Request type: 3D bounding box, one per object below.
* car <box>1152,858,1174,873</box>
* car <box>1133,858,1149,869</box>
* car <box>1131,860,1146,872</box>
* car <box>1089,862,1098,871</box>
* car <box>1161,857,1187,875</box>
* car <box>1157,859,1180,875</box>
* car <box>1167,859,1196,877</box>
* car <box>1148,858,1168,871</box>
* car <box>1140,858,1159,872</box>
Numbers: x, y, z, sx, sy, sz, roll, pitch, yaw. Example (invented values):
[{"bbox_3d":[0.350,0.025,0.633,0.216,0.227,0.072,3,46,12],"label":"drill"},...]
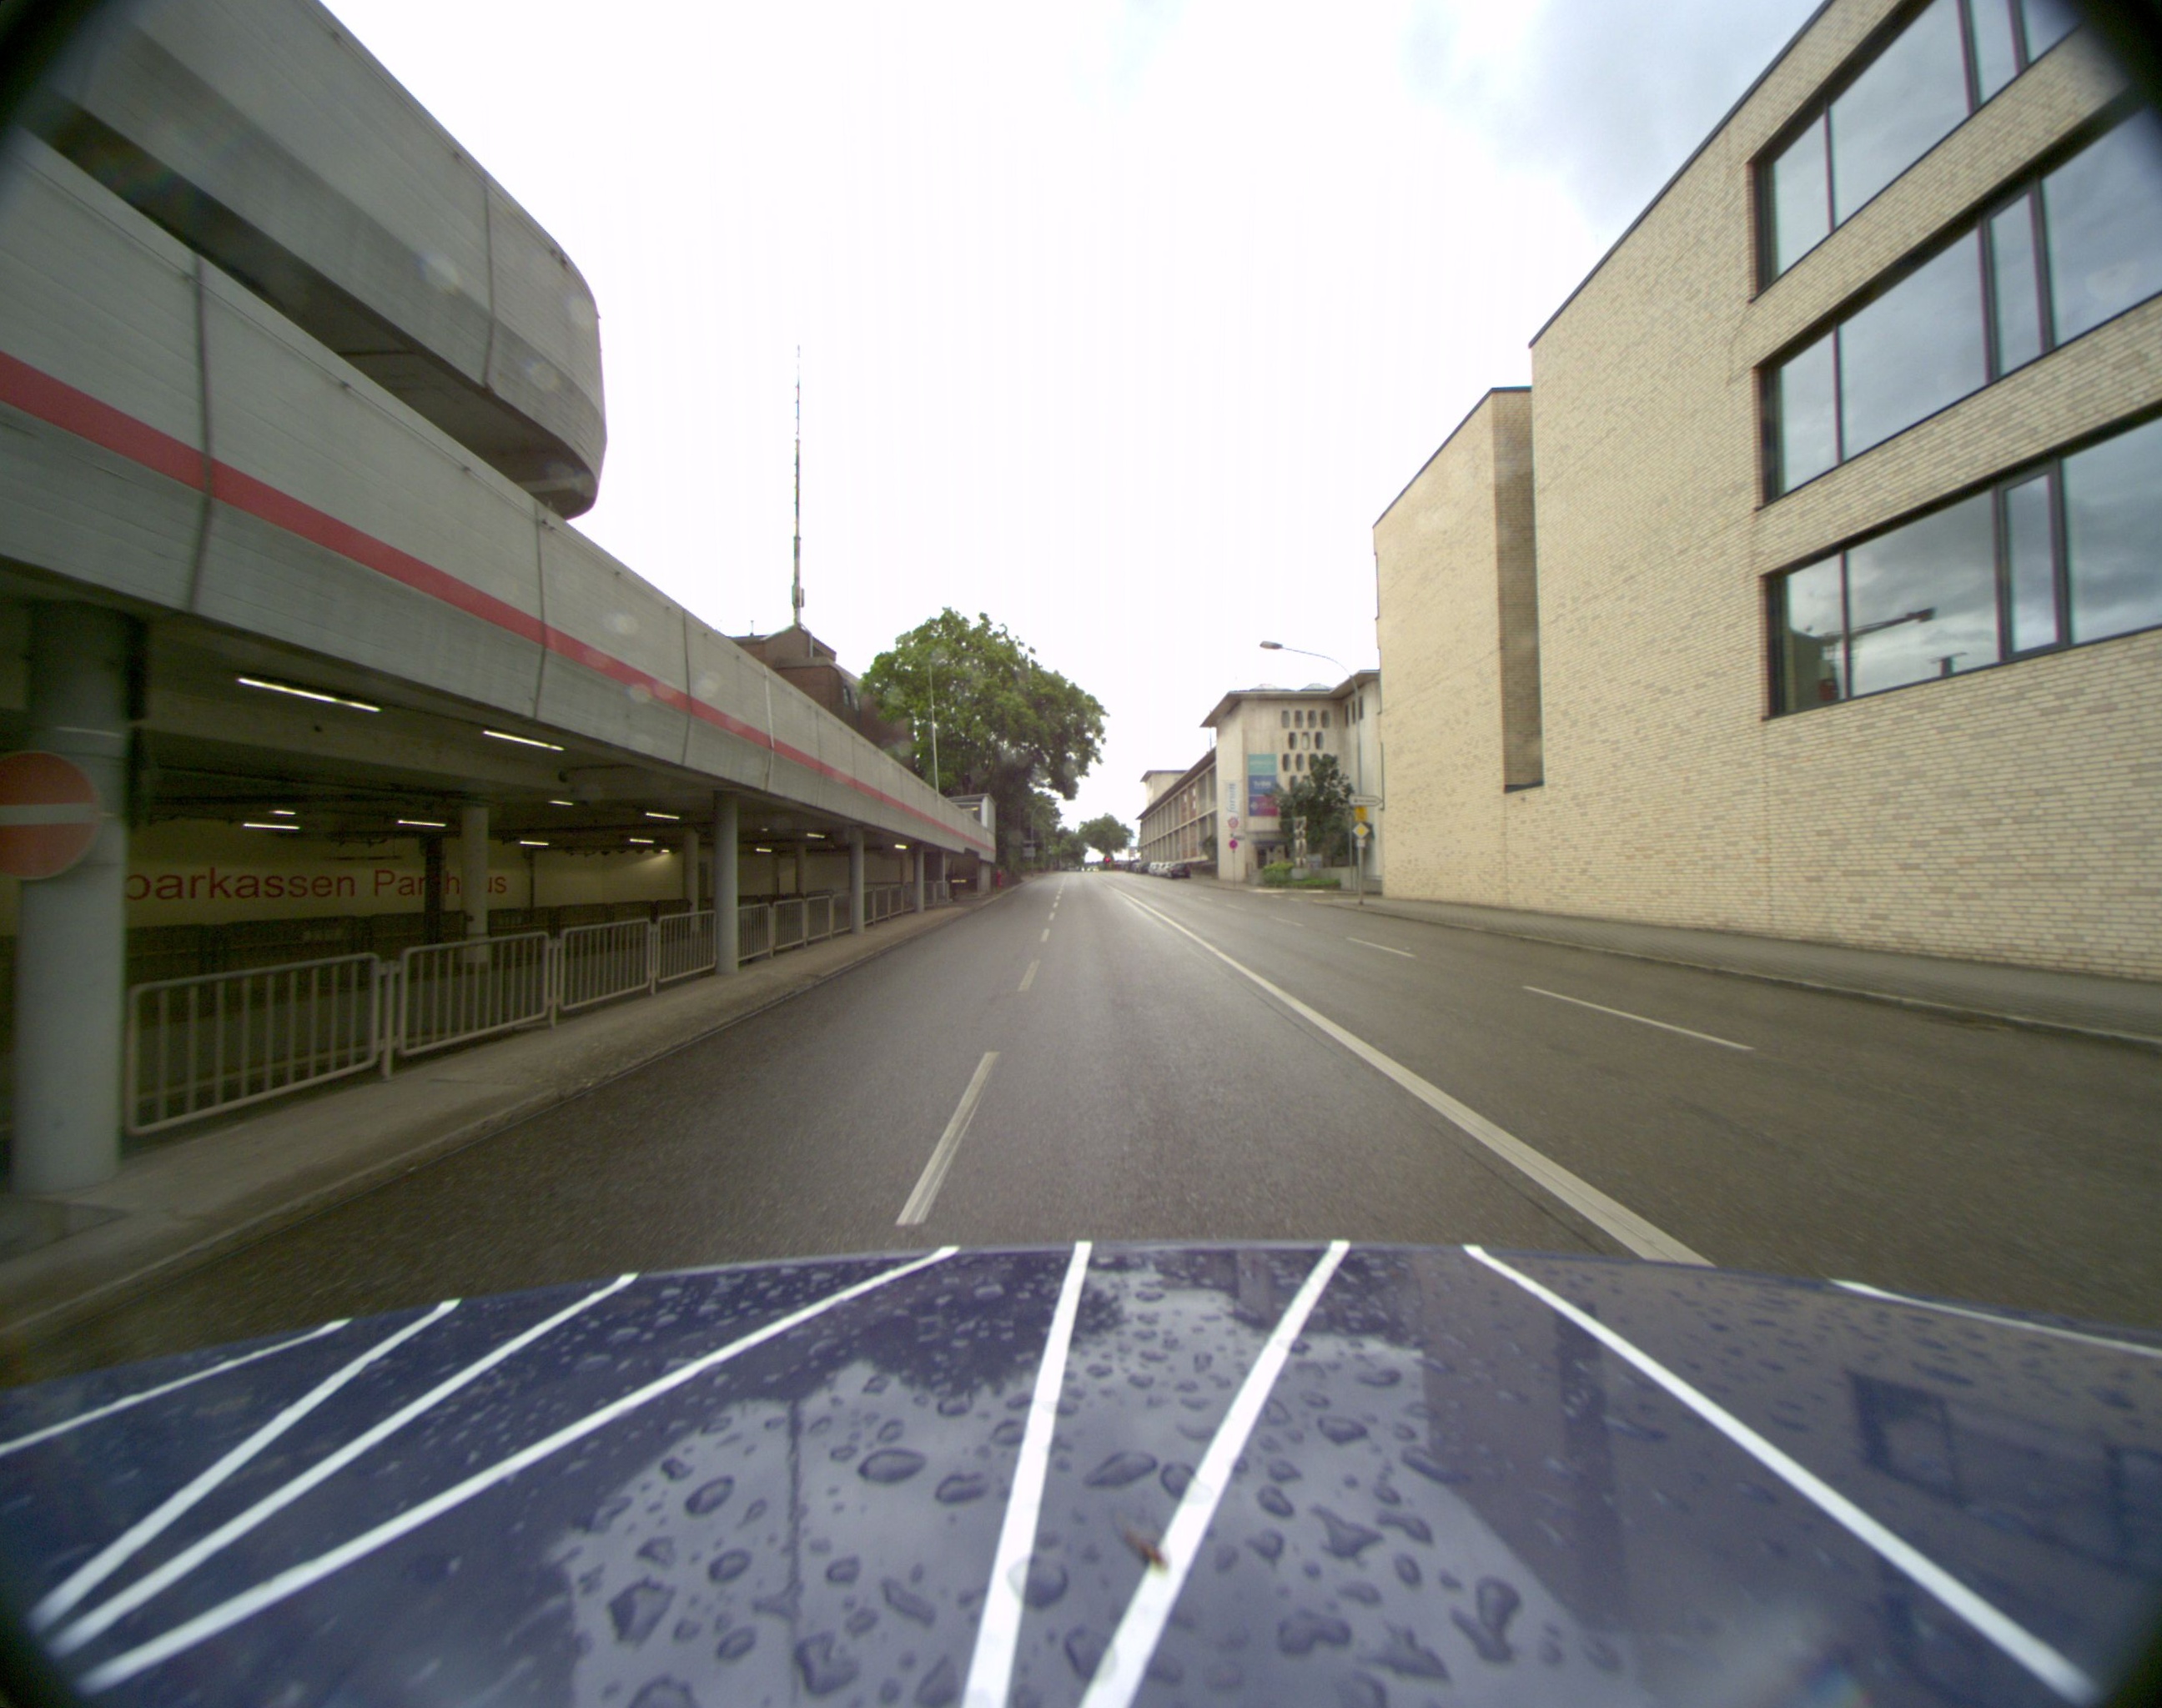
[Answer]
[{"bbox_3d":[9.314,1.295,87.076,1.998,1.482,4.185,-3,1,0],"label":"car"},{"bbox_3d":[9.023,1.432,115.071,1.999,1.528,3.999,-3,1,-1],"label":"car"},{"bbox_3d":[9.243,1.954,122.771,1.999,1.637,3.998,-4,2,-2],"label":"car"},{"bbox_3d":[3.118,3.112,192.280,1.806,2.002,3.997,-3,1,-6],"label":"car"},{"bbox_3d":[9.375,1.181,76.600,1.999,1.632,3.999,-3,1,0],"label":"car"},{"bbox_3d":[9.360,1.351,81.776,1.998,1.503,4.000,-3,1,1],"label":"car"},{"bbox_3d":[9.368,1.300,71.026,1.999,1.520,3.999,-3,1,-1],"label":"car"},{"bbox_3d":[9.425,1.228,92.983,1.999,1.521,3.999,-1,1,-1],"label":"car"},{"bbox_3d":[9.144,1.430,101.412,1.999,1.701,3.999,-3,1,-1],"label":"car"}]
